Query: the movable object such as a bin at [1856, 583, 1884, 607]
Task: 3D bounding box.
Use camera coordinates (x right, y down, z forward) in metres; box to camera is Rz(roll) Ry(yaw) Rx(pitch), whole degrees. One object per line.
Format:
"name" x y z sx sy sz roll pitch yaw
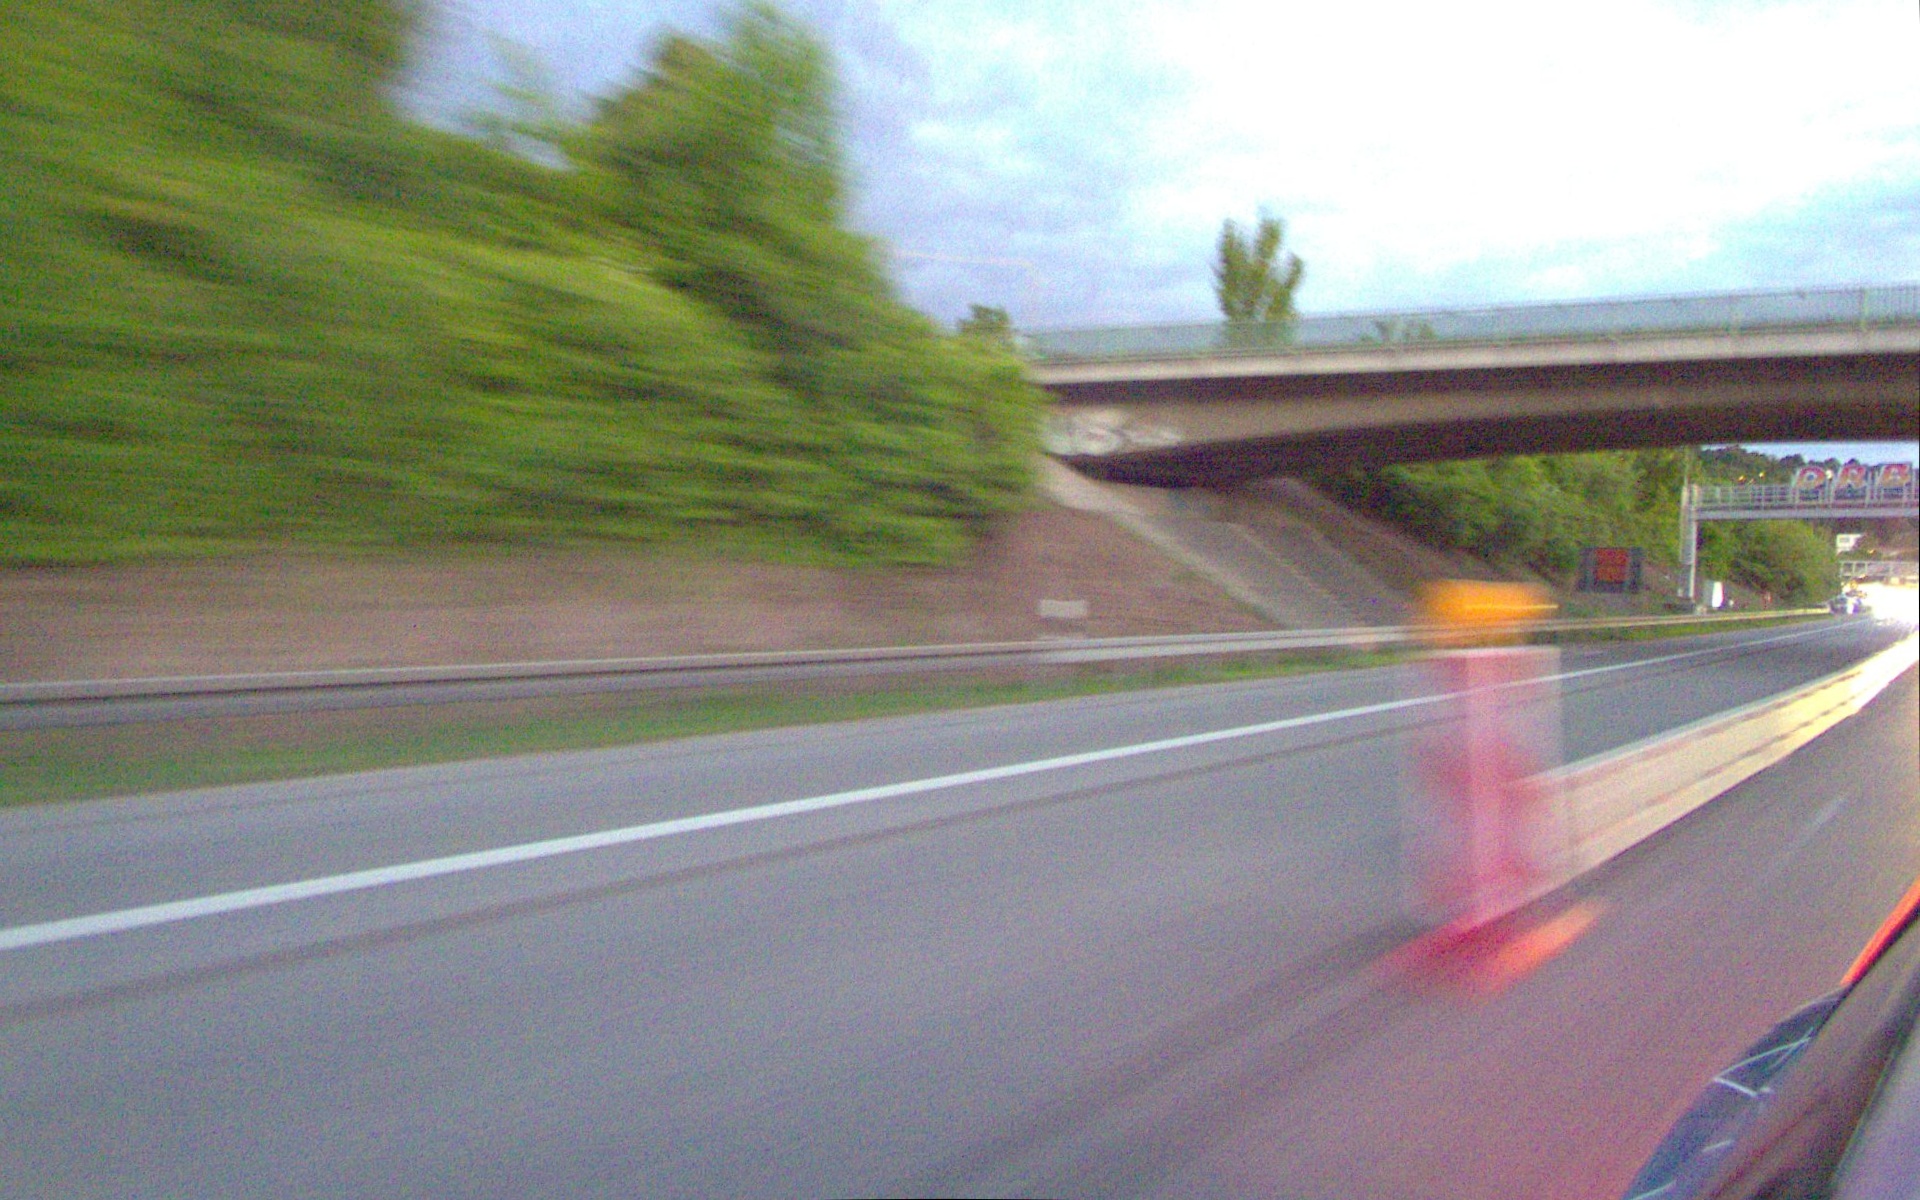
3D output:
"movable object such as a bin" 120.694 -0.709 134.227 2.619 3.146 5.718 2 2 42
